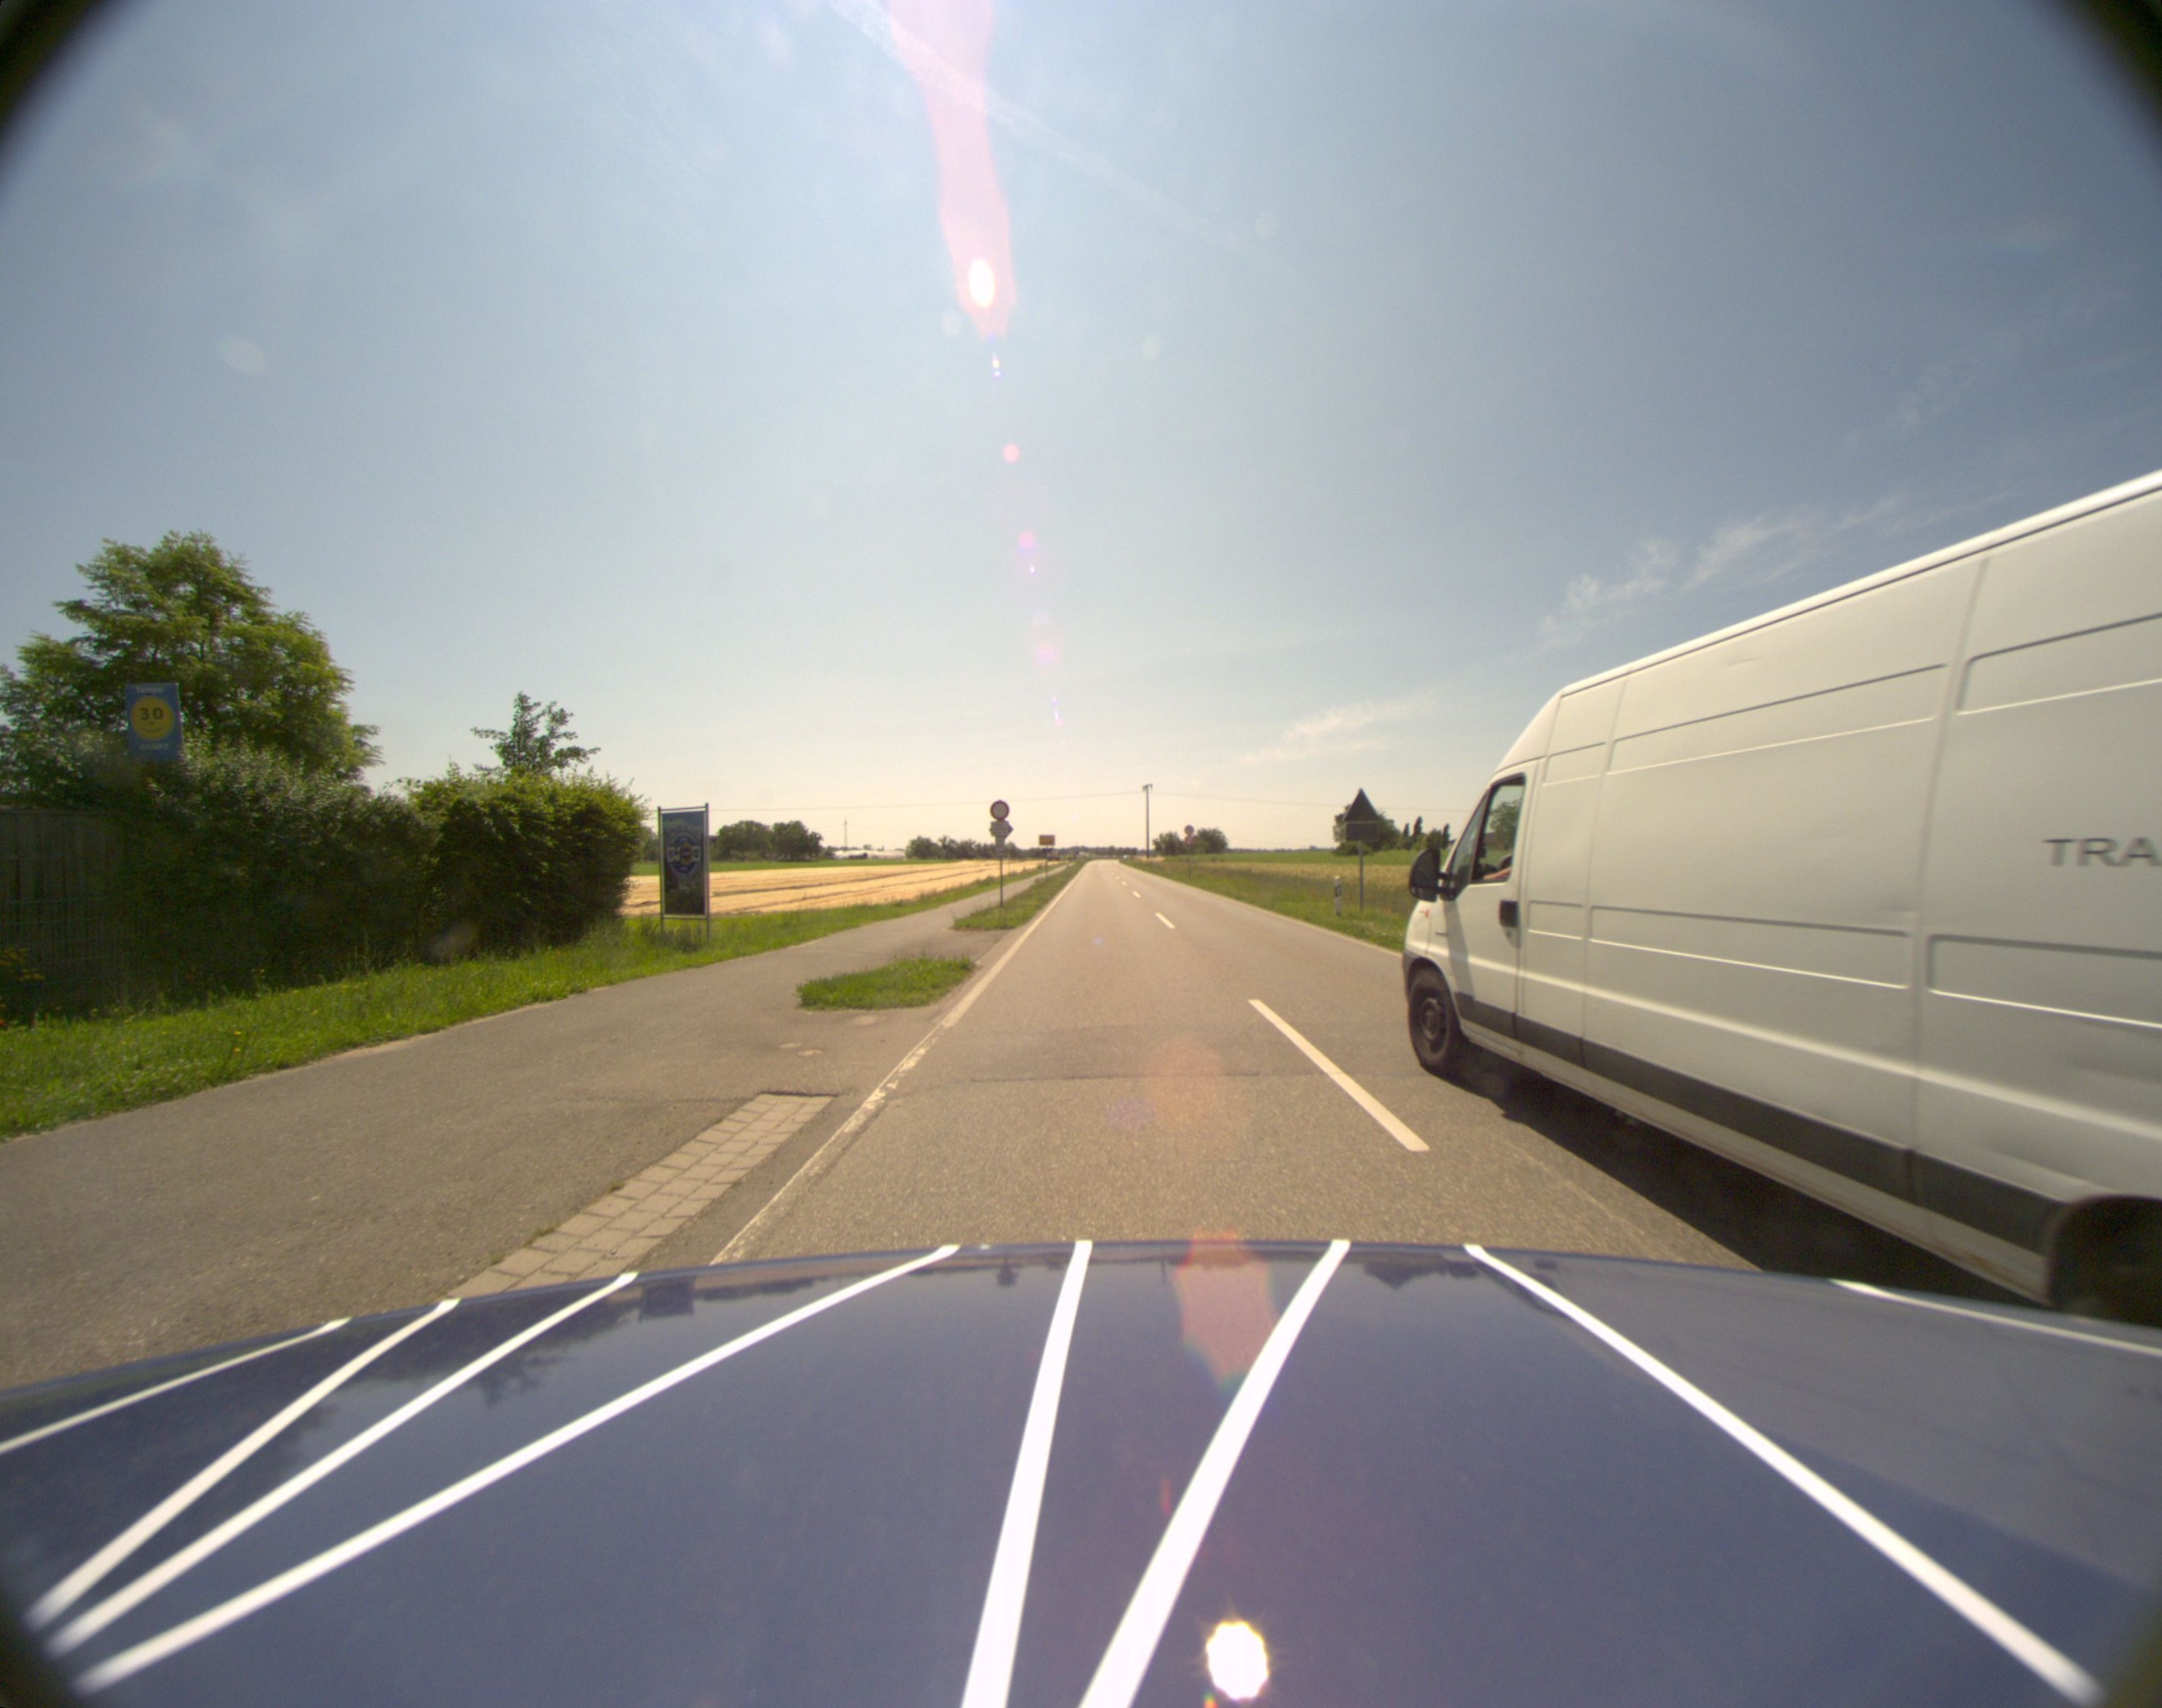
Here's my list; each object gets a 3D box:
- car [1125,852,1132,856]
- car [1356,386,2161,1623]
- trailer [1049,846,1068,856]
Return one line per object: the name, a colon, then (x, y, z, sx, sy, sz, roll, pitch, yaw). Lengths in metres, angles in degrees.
car: (15.274, -0.010, 244.316, 1.795, 1.401, 4.188, 1, 1, 10)
car: (3.278, 0.313, 3.294, 2.082, 2.527, 5.873, 1, 0, 1)
trailer: (-6.830, -0.839, 228.737, 5.283, 2.936, 2.002, 1, 3, 21)
